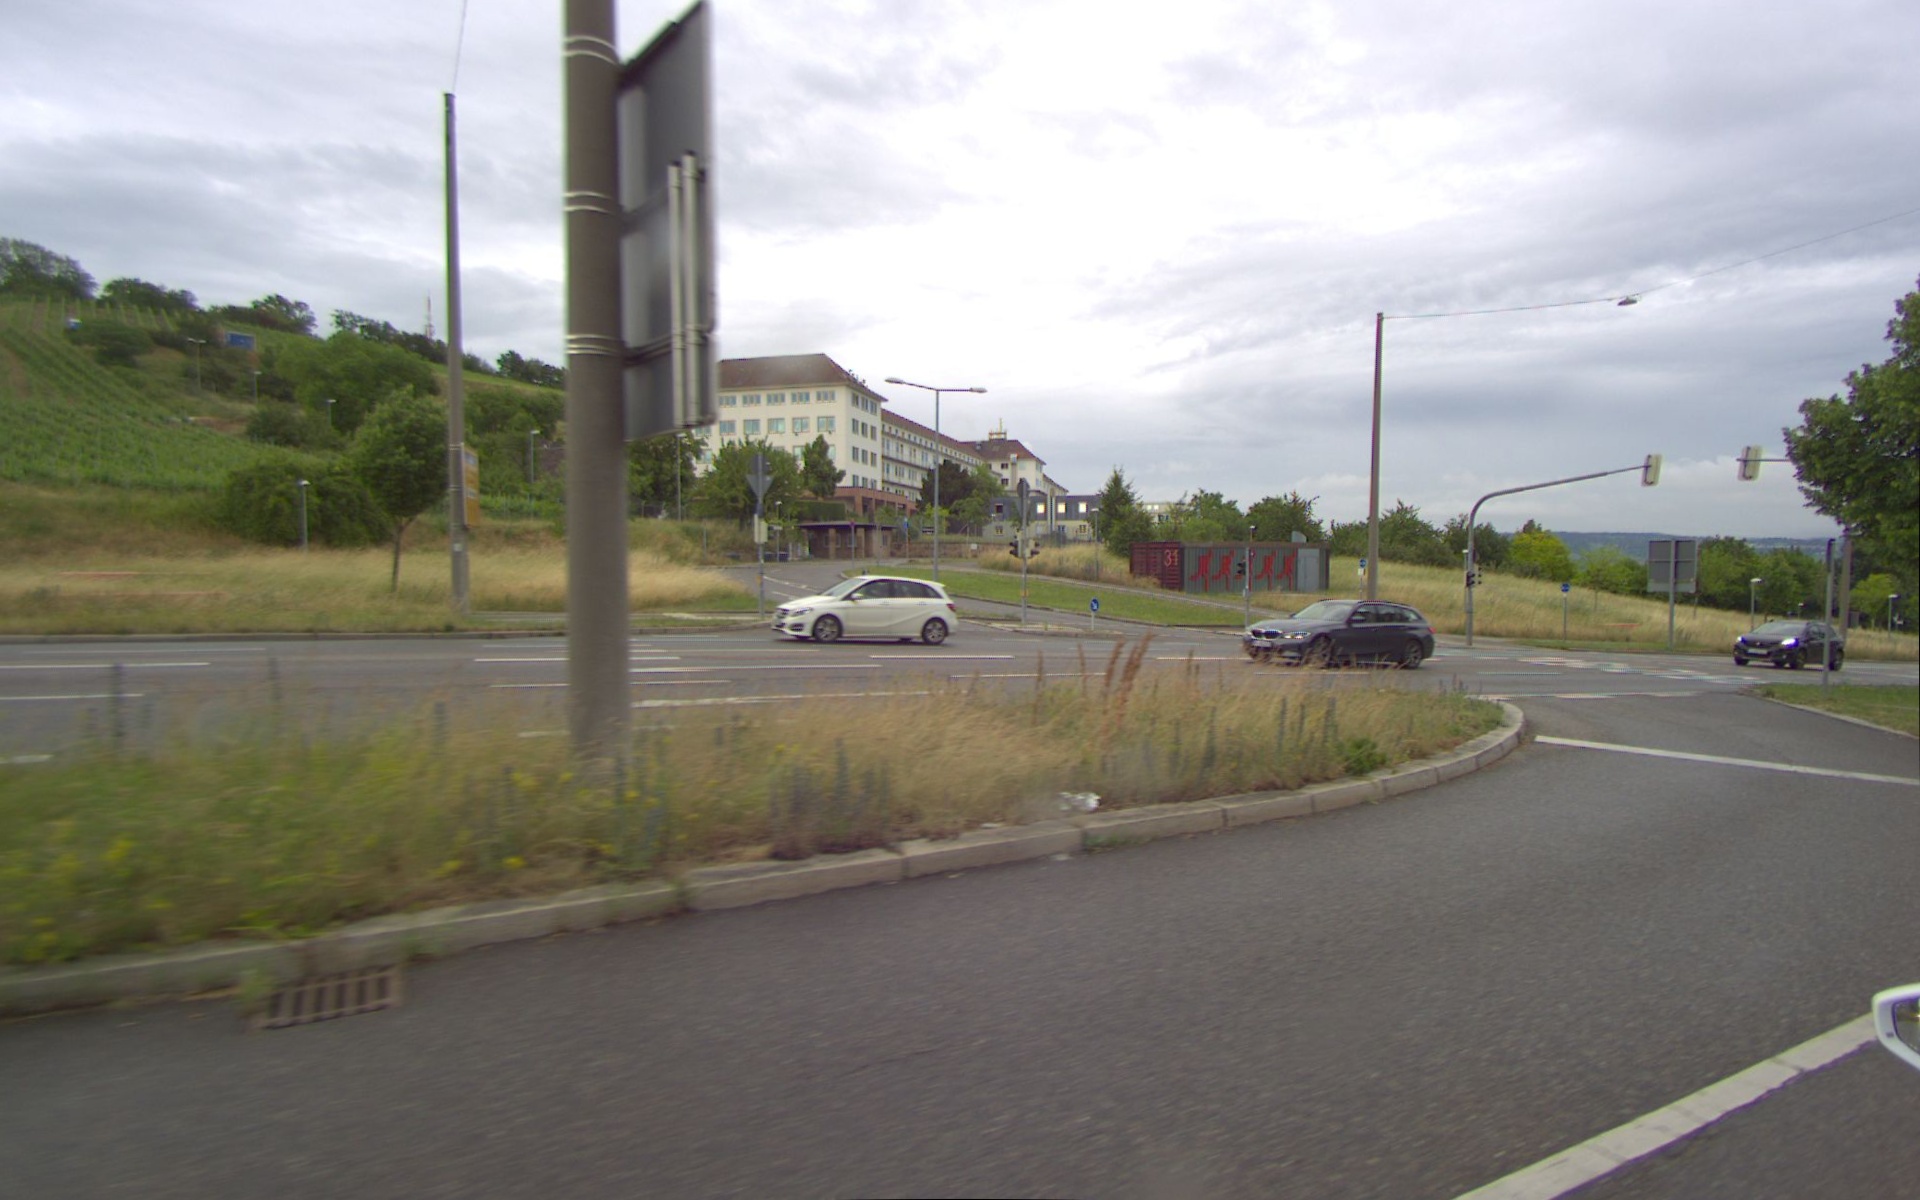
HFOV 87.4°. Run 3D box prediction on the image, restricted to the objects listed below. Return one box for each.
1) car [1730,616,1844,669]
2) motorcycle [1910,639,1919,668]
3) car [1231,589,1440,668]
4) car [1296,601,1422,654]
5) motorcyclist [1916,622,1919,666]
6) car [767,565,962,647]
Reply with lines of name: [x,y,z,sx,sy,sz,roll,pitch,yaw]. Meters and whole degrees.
car: [26.423,1.365,32.084,3.617,1.524,1.531,3,0,-29]
motorcycle: [36.515,2.004,37.623,2.472,1.064,0.614,1,1,-30]
car: [8.133,0.630,21.653,4.409,1.524,1.743,2,1,-29]
car: [12.572,0.867,31.626,3.728,1.482,1.644,3,0,-29]
motorcyclist: [36.142,1.643,37.394,0.635,1.617,0.579,0,2,-29]
car: [-2.198,0.149,23.359,4.127,1.670,1.759,3,0,-29]
